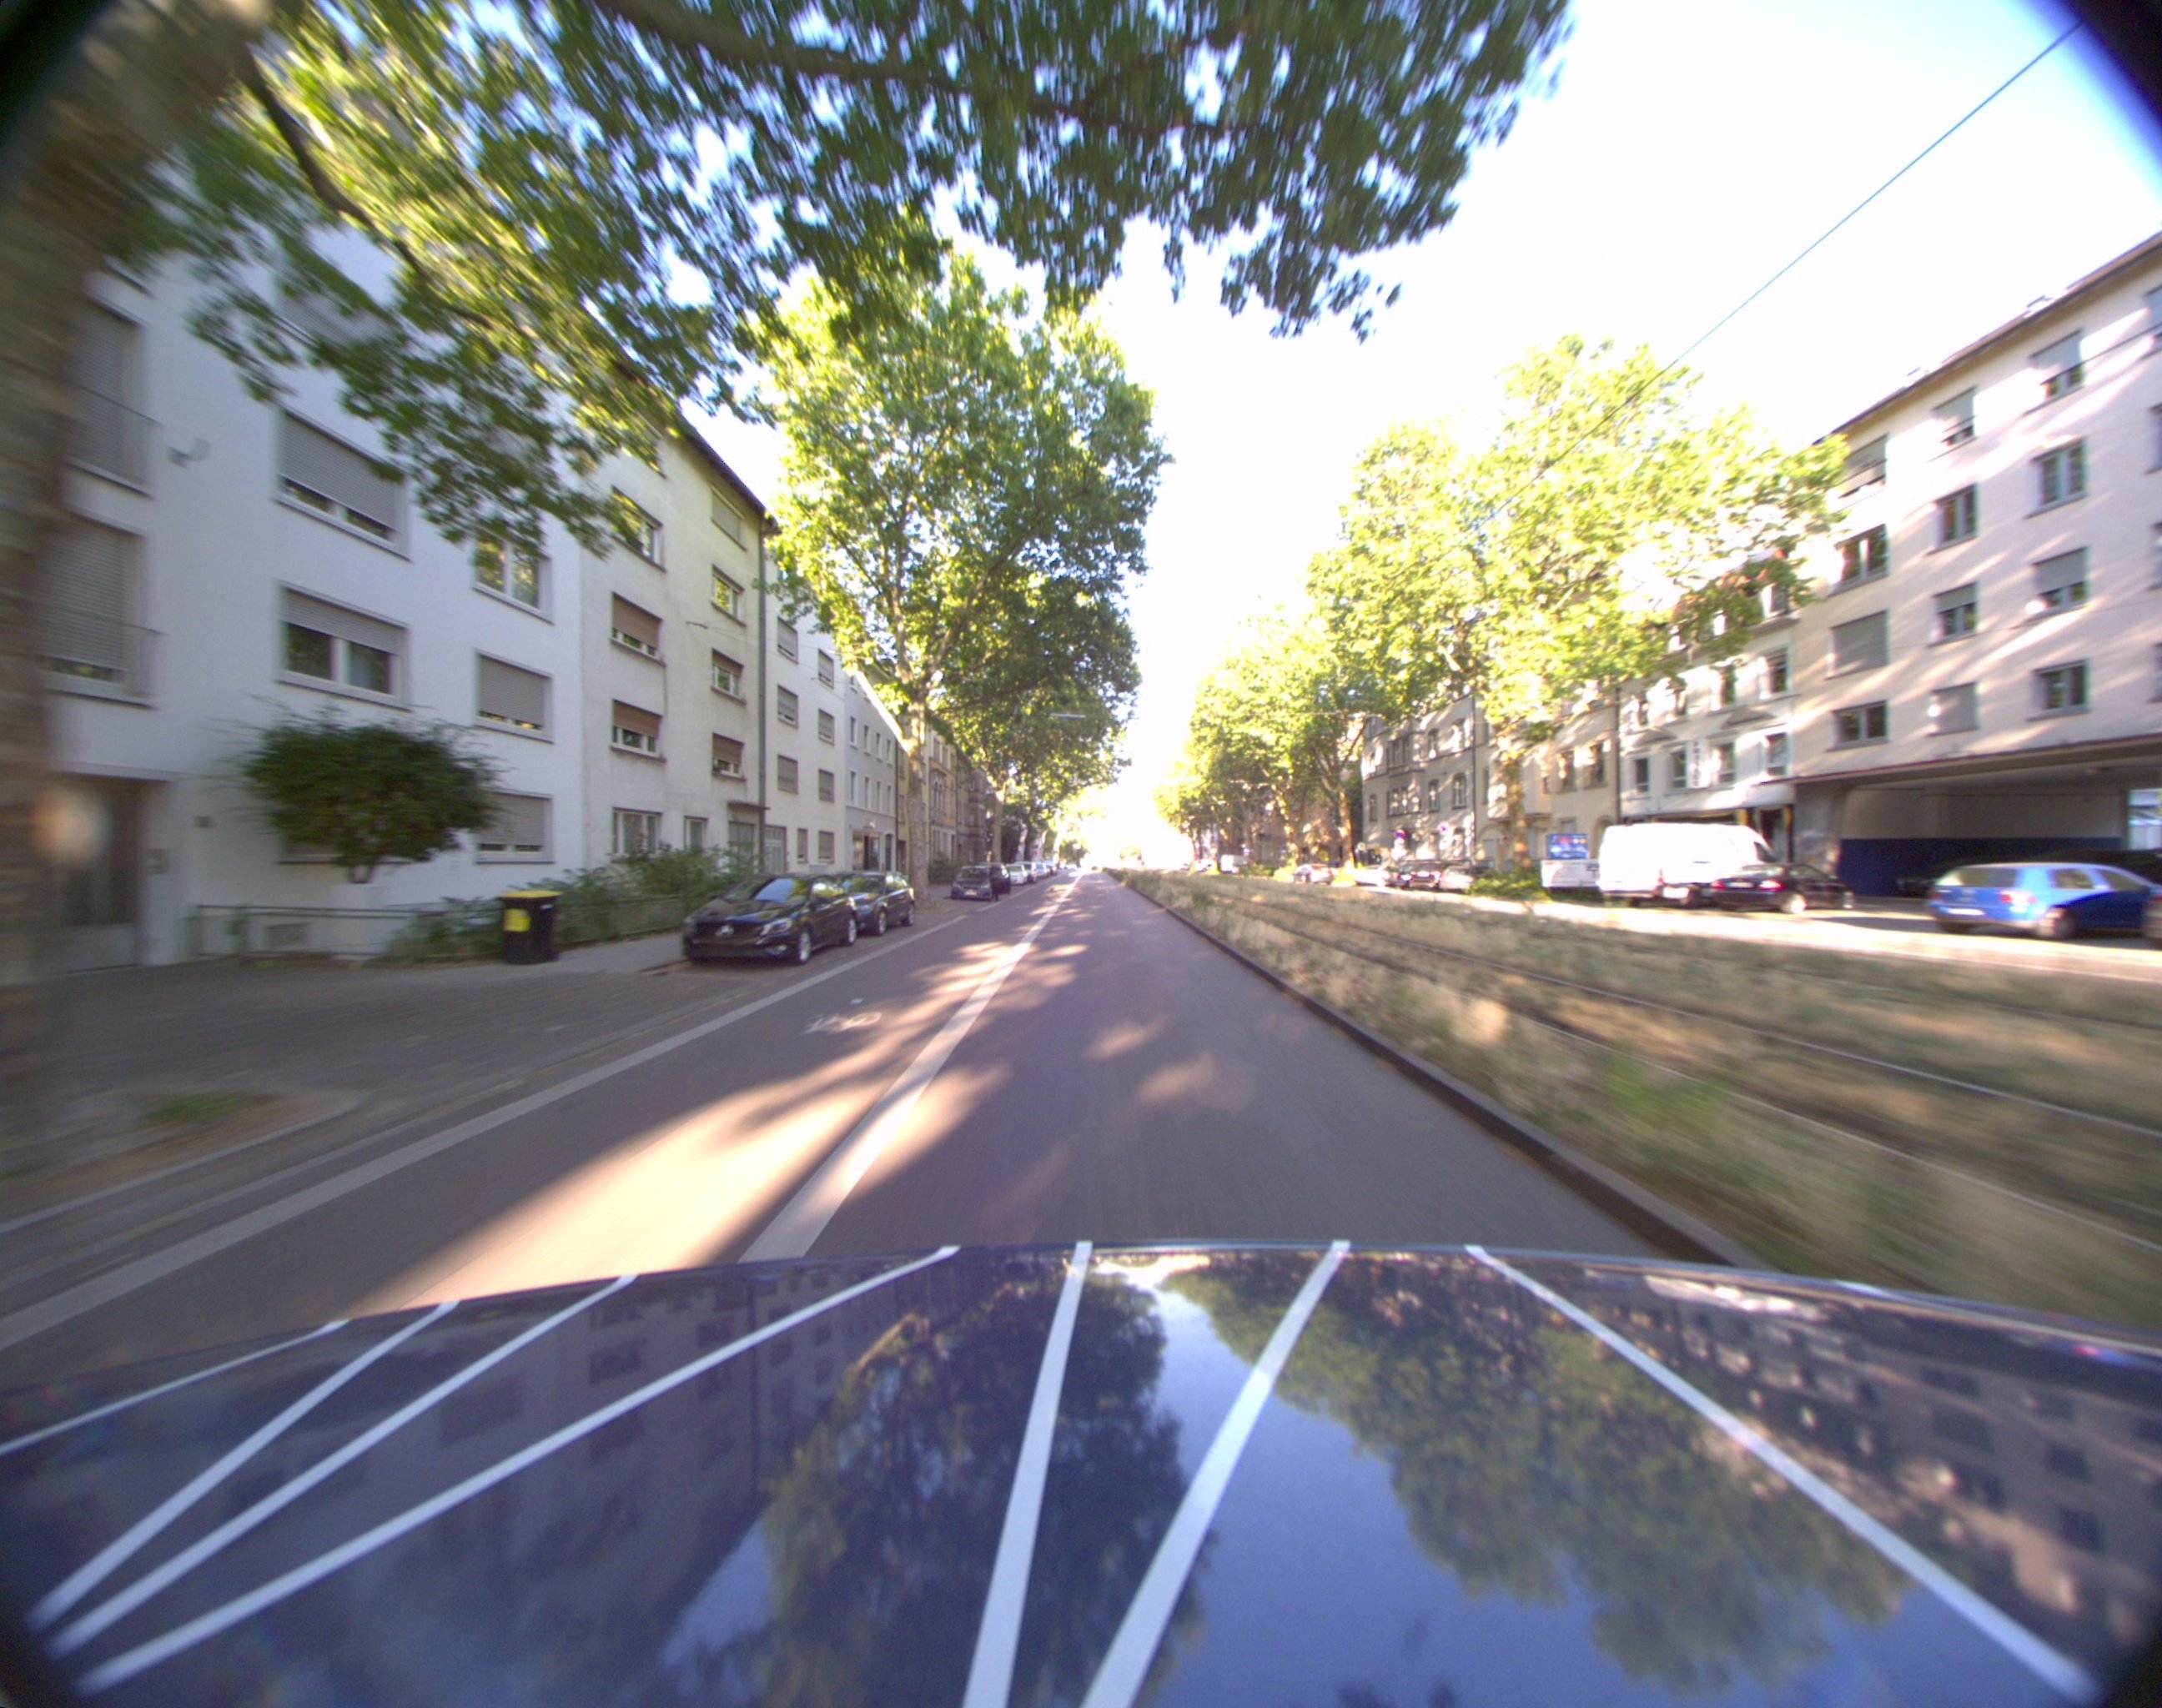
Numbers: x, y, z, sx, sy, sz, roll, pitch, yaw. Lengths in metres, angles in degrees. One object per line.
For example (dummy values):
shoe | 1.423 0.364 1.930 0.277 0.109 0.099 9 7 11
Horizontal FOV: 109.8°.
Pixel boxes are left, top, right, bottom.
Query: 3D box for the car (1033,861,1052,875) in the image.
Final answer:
car | -4.191 1.496 82.515 1.790 1.458 3.570 1 0 1

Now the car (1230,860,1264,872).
car | 20.571 1.441 94.267 4.006 1.240 1.726 -4 1 -33

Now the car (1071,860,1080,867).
car | -1.364 2.262 185.576 1.893 1.501 4.000 -2 0 2

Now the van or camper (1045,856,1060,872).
van or camper | -3.774 1.312 101.307 1.790 2.172 4.733 1 0 1

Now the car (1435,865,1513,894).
car | 19.331 1.244 37.334 4.014 1.349 1.797 1 -1 -36

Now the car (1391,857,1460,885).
car | 19.970 0.991 43.995 4.008 1.524 1.821 2 -1 -35

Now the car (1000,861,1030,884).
car | -4.635 1.288 53.887 1.702 1.517 4.195 0 0 1

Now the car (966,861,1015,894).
car | -4.795 1.207 40.744 1.998 1.557 4.664 2 0 1

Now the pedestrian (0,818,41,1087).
pedestrian | -8.348 0.717 5.305 0.684 2.001 1.012 3 0 0

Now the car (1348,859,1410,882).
car | 19.029 1.033 48.512 3.687 1.381 1.822 0 0 -30

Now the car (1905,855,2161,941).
car | 19.219 0.813 15.003 3.998 1.412 1.857 -2 0 -3

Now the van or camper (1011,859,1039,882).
van or camper | -4.394 1.306 60.184 1.790 1.710 4.380 1 0 2

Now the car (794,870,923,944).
car | -5.098 1.156 18.045 1.713 1.407 4.364 2 0 1

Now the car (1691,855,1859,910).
car | 20.079 0.794 22.002 4.004 1.481 1.997 0 -1 -21

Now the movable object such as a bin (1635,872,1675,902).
movable object such as a bin | 20.695 1.179 27.404 0.741 1.016 0.868 0 0 -12

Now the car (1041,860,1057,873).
car | -3.999 1.509 94.574 1.791 1.585 4.014 1 0 -1

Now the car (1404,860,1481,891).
car | 19.333 1.172 40.623 4.169 1.583 1.932 2 -1 -35

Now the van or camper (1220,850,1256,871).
van or camper | 19.998 0.824 96.803 4.371 2.386 2.196 -4 1 -39

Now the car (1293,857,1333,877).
car | 19.743 1.111 64.637 1.726 1.643 4.009 -1 -1 41

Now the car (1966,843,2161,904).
car | 29.395 0.553 22.561 3.997 1.710 1.906 0 0 0

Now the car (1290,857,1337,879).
car | 15.936 0.926 52.214 1.825 1.381 4.484 2 0 0

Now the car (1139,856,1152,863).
car | 14.915 1.224 175.887 1.999 1.477 3.998 -2 0 -6

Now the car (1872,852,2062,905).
car | 29.338 0.789 25.252 3.997 1.533 2.000 -2 0 -1

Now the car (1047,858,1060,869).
car | -4.597 1.513 126.528 1.998 1.819 4.000 0 0 1

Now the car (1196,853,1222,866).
car | 20.465 0.876 121.759 4.007 2.002 1.995 -3 0 -41

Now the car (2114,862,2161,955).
car | 19.379 0.873 12.147 4.001 1.483 1.949 0 0 -13

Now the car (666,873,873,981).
car | -5.095 1.111 13.153 1.713 1.407 4.364 2 0 1

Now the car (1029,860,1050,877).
car | -4.180 1.454 77.208 1.790 1.609 3.829 1 0 1

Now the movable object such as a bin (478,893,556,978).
movable object such as a bin | -8.154 1.165 11.011 0.617 1.152 0.666 0 0 -2

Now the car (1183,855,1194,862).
car | 24.062 1.063 169.606 1.998 1.412 4.001 -2 0 3

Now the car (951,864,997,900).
car | -4.707 1.206 33.964 1.748 1.455 4.025 0 0 -4

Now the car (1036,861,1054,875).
car | -4.135 1.576 87.283 1.790 1.458 3.570 1 0 1

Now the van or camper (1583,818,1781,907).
van or camper | 19.398 0.253 24.527 5.973 2.630 2.175 0 0 -19
